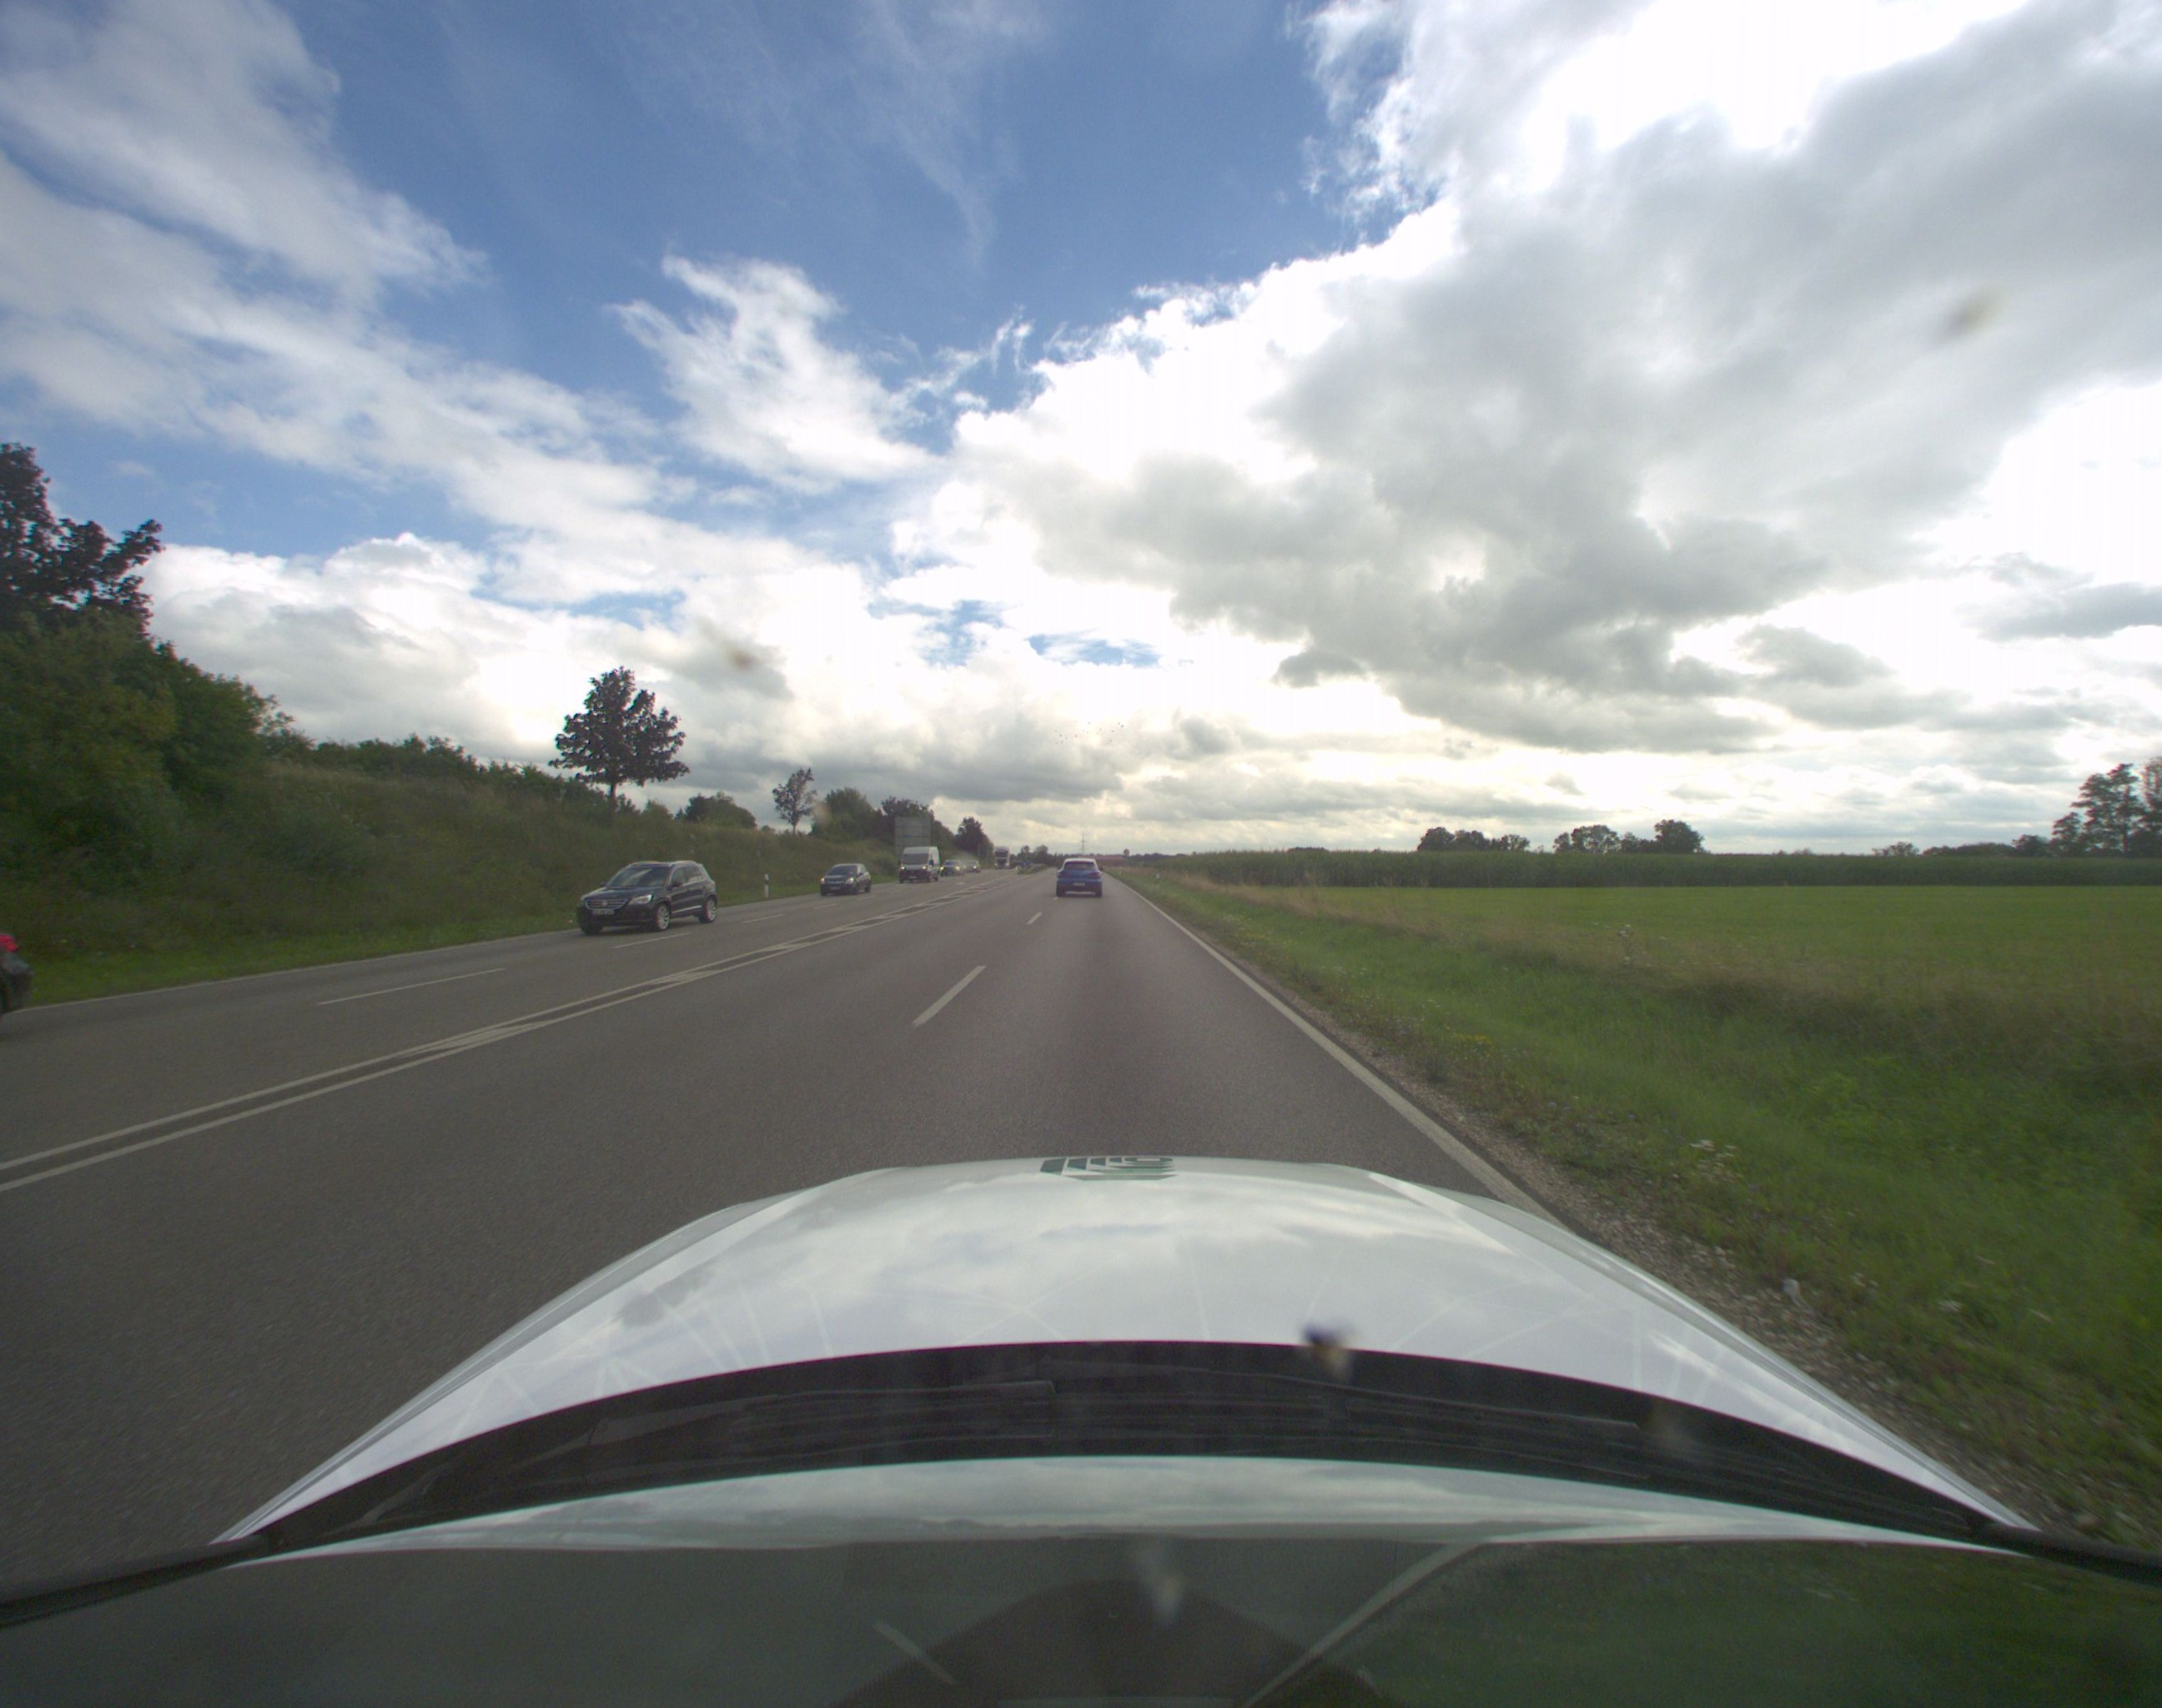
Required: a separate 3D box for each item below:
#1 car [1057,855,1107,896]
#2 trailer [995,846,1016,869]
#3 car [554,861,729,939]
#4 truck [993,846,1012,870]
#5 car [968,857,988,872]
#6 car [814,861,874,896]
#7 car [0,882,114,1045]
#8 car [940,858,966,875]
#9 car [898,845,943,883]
[{"bbox_3d":[0.013,0.896,35.328,2.027,1.660,4.540,0,-1,-1],"label":"car"},{"bbox_3d":[-13.608,0.610,147.210,2.767,3.947,12.977,1,0,-1],"label":"trailer"},{"bbox_3d":[-10.757,1.039,20.374,1.788,1.634,4.517,-2,0,1],"label":"car"},{"bbox_3d":[-13.447,0.612,140.380,2.795,3.997,5.284,1,0,-1],"label":"truck"},{"bbox_3d":[-11.493,1.154,91.151,1.727,1.530,4.191,-1,0,-1],"label":"car"},{"bbox_3d":[-11.308,1.137,39.127,1.727,1.530,4.191,-1,0,-1],"label":"car"},{"bbox_3d":[-11.173,1.062,6.261,1.788,1.511,4.706,0,0,1],"label":"car"},{"bbox_3d":[-11.760,1.137,75.254,1.727,1.530,4.546,-1,0,-1],"label":"car"},{"bbox_3d":[-11.151,0.652,56.998,2.027,2.439,5.632,-1,0,-1],"label":"car"}]
